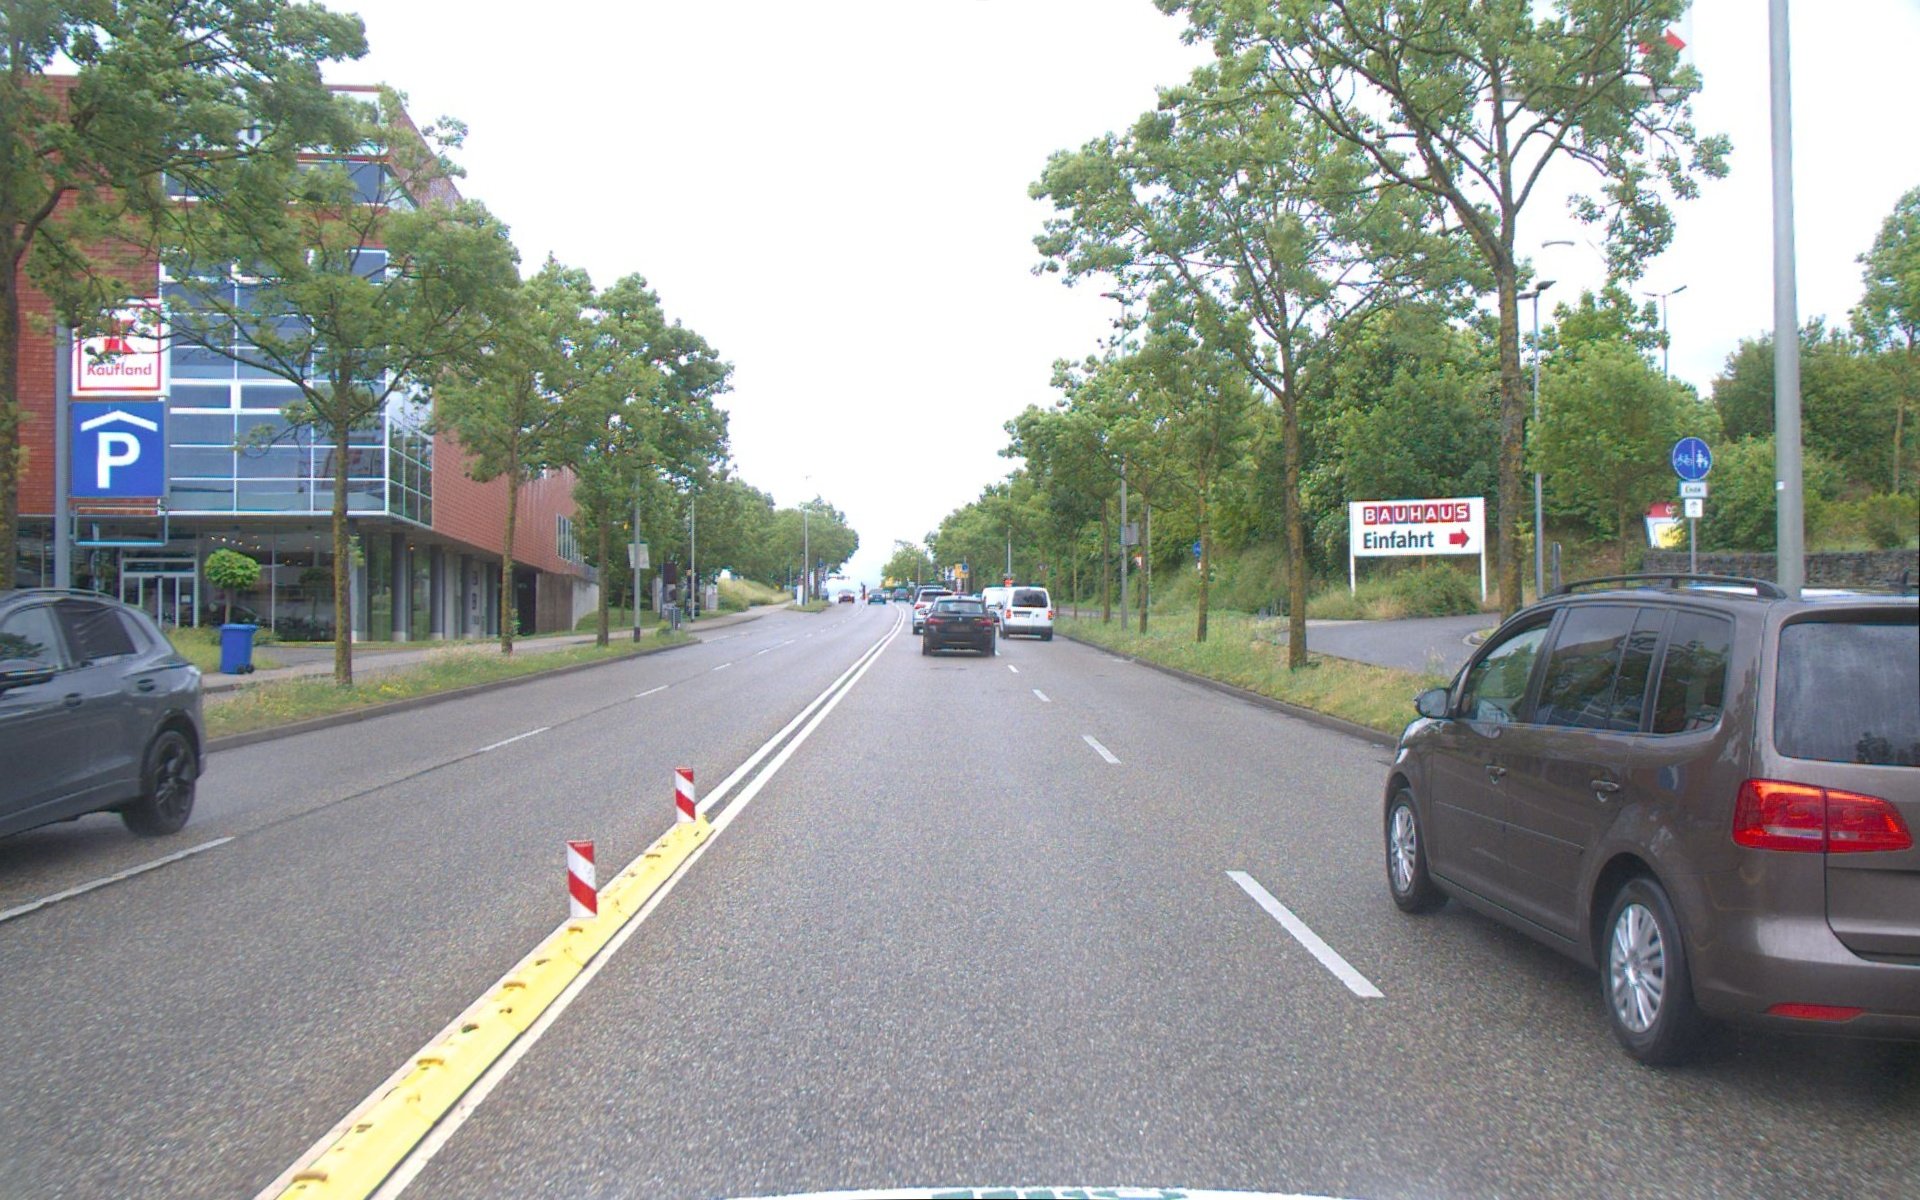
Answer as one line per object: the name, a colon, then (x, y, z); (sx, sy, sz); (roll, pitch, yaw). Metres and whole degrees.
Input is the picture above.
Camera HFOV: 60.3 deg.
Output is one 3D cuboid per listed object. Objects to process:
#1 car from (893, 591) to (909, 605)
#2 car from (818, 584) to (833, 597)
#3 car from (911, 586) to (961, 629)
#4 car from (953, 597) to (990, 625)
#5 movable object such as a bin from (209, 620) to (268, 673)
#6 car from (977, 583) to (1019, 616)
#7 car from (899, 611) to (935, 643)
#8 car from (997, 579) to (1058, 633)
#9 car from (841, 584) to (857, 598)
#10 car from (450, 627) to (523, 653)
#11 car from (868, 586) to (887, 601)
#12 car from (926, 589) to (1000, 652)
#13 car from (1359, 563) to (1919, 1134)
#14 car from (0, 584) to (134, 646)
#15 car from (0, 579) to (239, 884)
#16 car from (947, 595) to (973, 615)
car: (-6.684, -0.210, 187.656); (1.758, 1.537, 3.997); (2, -1, -3)
car: (-16.801, -1.181, 206.968); (1.759, 1.537, 3.996); (2, -1, -4)
car: (-0.954, 0.298, 62.811); (1.758, 1.537, 3.998); (2, -1, -2)
car: (0.650, 0.618, 94.280); (1.759, 1.537, 3.996); (2, -1, -4)
movable object such as a bin: (-15.903, 1.013, 36.488); (0.802, 1.098, 1.085); (1, 0, -1)
car: (1.848, -0.009, 80.789); (1.758, 1.537, 3.998); (2, -1, -2)
car: (-2.215, 1.371, 85.009); (1.758, 1.537, 3.998); (2, -1, -2)
car: (2.335, 0.197, 58.070); (1.790, 1.790, 3.998); (2, 0, -2)
car: (-12.551, -1.035, 186.894); (1.759, 1.537, 3.996); (2, -1, -4)
car: (-25.765, 2.183, 90.053); (3.463, 1.307, 1.521); (2, -1, 1)
car: (-8.591, -0.681, 172.087); (1.759, 1.537, 3.996); (2, -1, -4)
car: (0.057, 0.487, 42.144); (1.790, 1.494, 4.000); (0, 0, -1)
car: (3.078, 0.729, 6.821); (1.651, 1.609, 4.216); (1, 0, -3)
car: (-25.669, 0.428, 46.471); (4.206, 1.712, 1.789); (0, -2, -20)
car: (-6.081, 0.745, 9.696); (1.751, 1.642, 4.435); (-2, 0, -1)
car: (-0.020, 0.399, 130.989); (1.759, 1.537, 3.996); (2, -1, -4)
